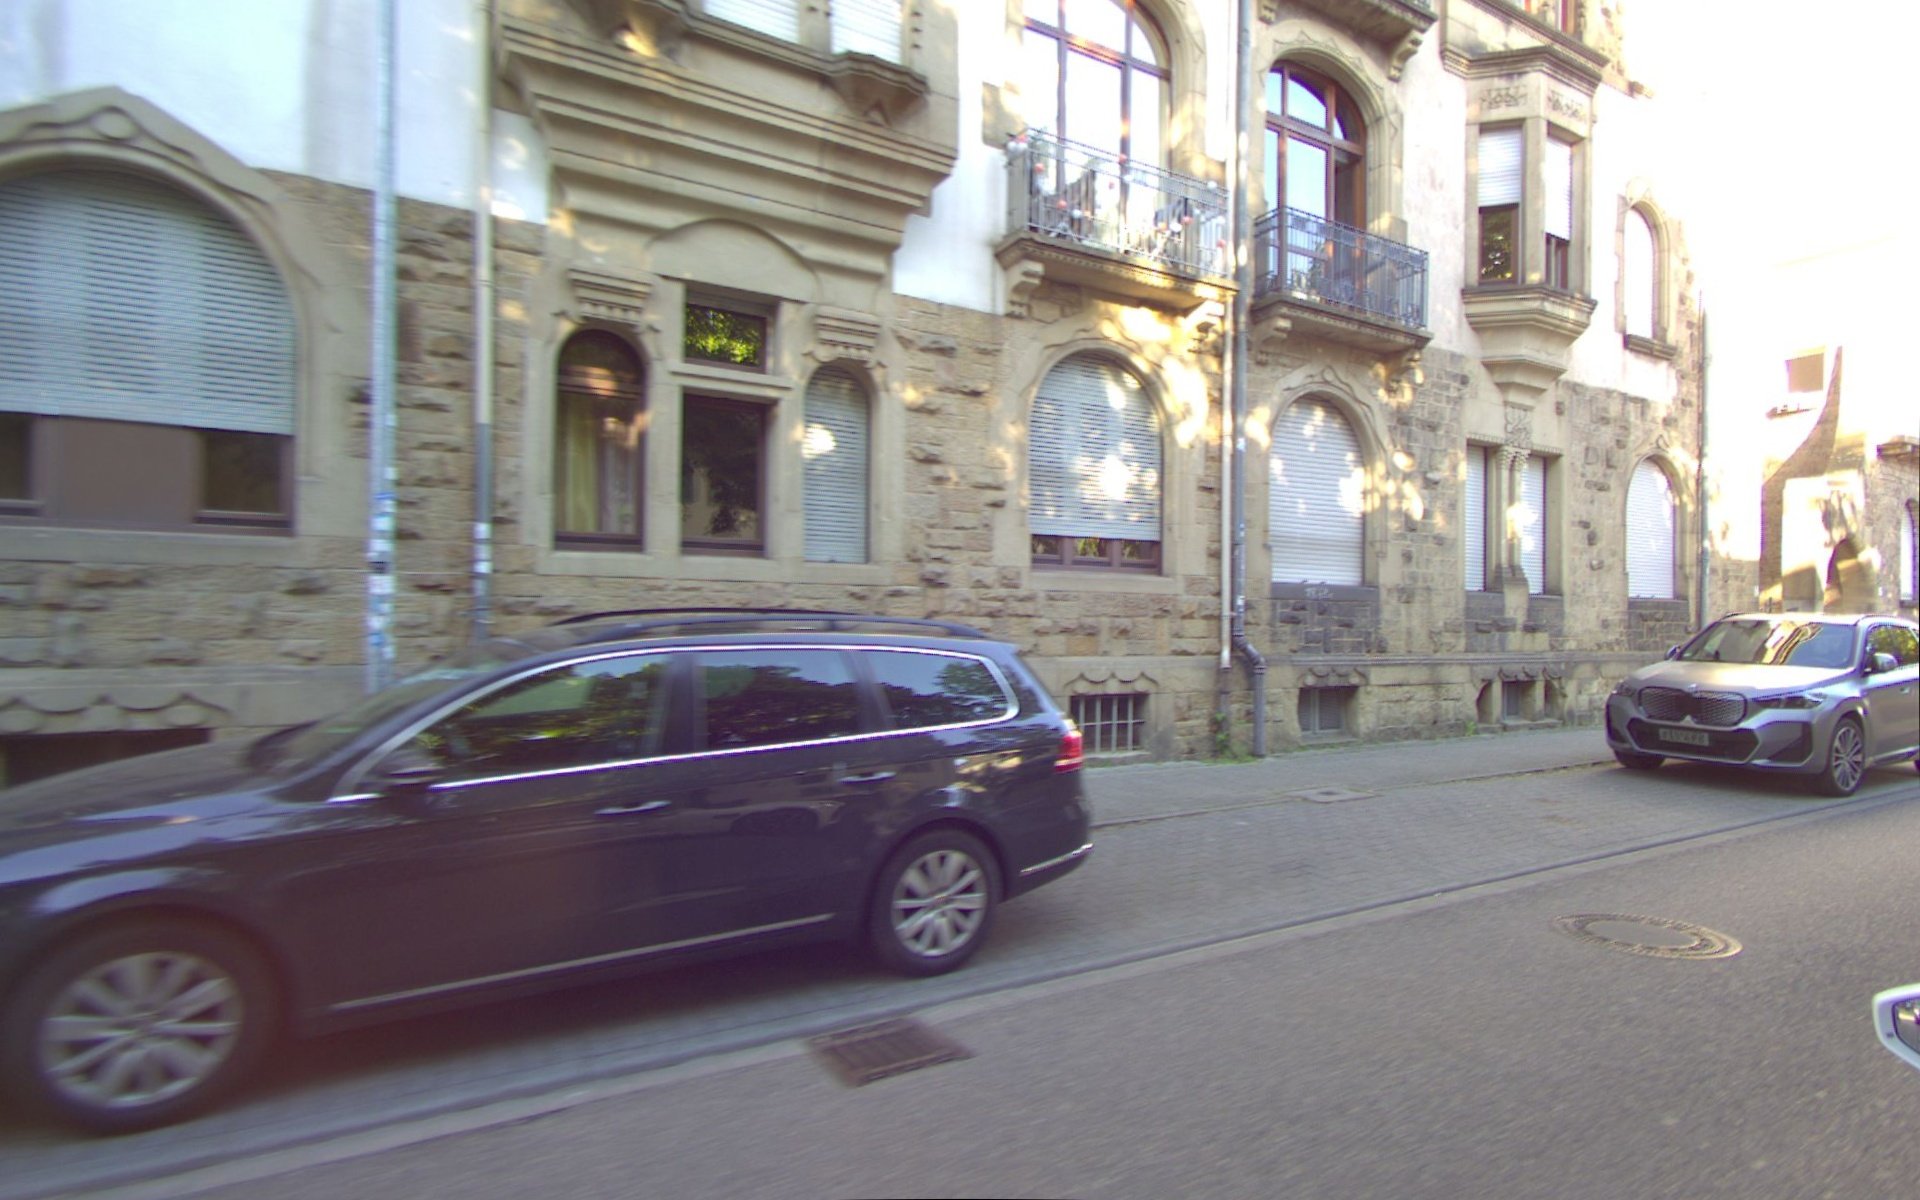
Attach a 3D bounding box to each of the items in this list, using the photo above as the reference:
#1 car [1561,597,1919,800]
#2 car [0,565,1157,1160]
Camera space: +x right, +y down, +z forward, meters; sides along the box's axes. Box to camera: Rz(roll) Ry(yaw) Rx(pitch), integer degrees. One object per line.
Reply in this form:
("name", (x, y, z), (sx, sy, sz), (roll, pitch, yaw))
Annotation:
("car", (8.271, 0.894, 10.201), (4.348, 1.643, 2.038), (2, -2, -33))
("car", (-1.515, 0.782, 4.304), (4.652, 1.595, 1.722), (2, -2, -30))
